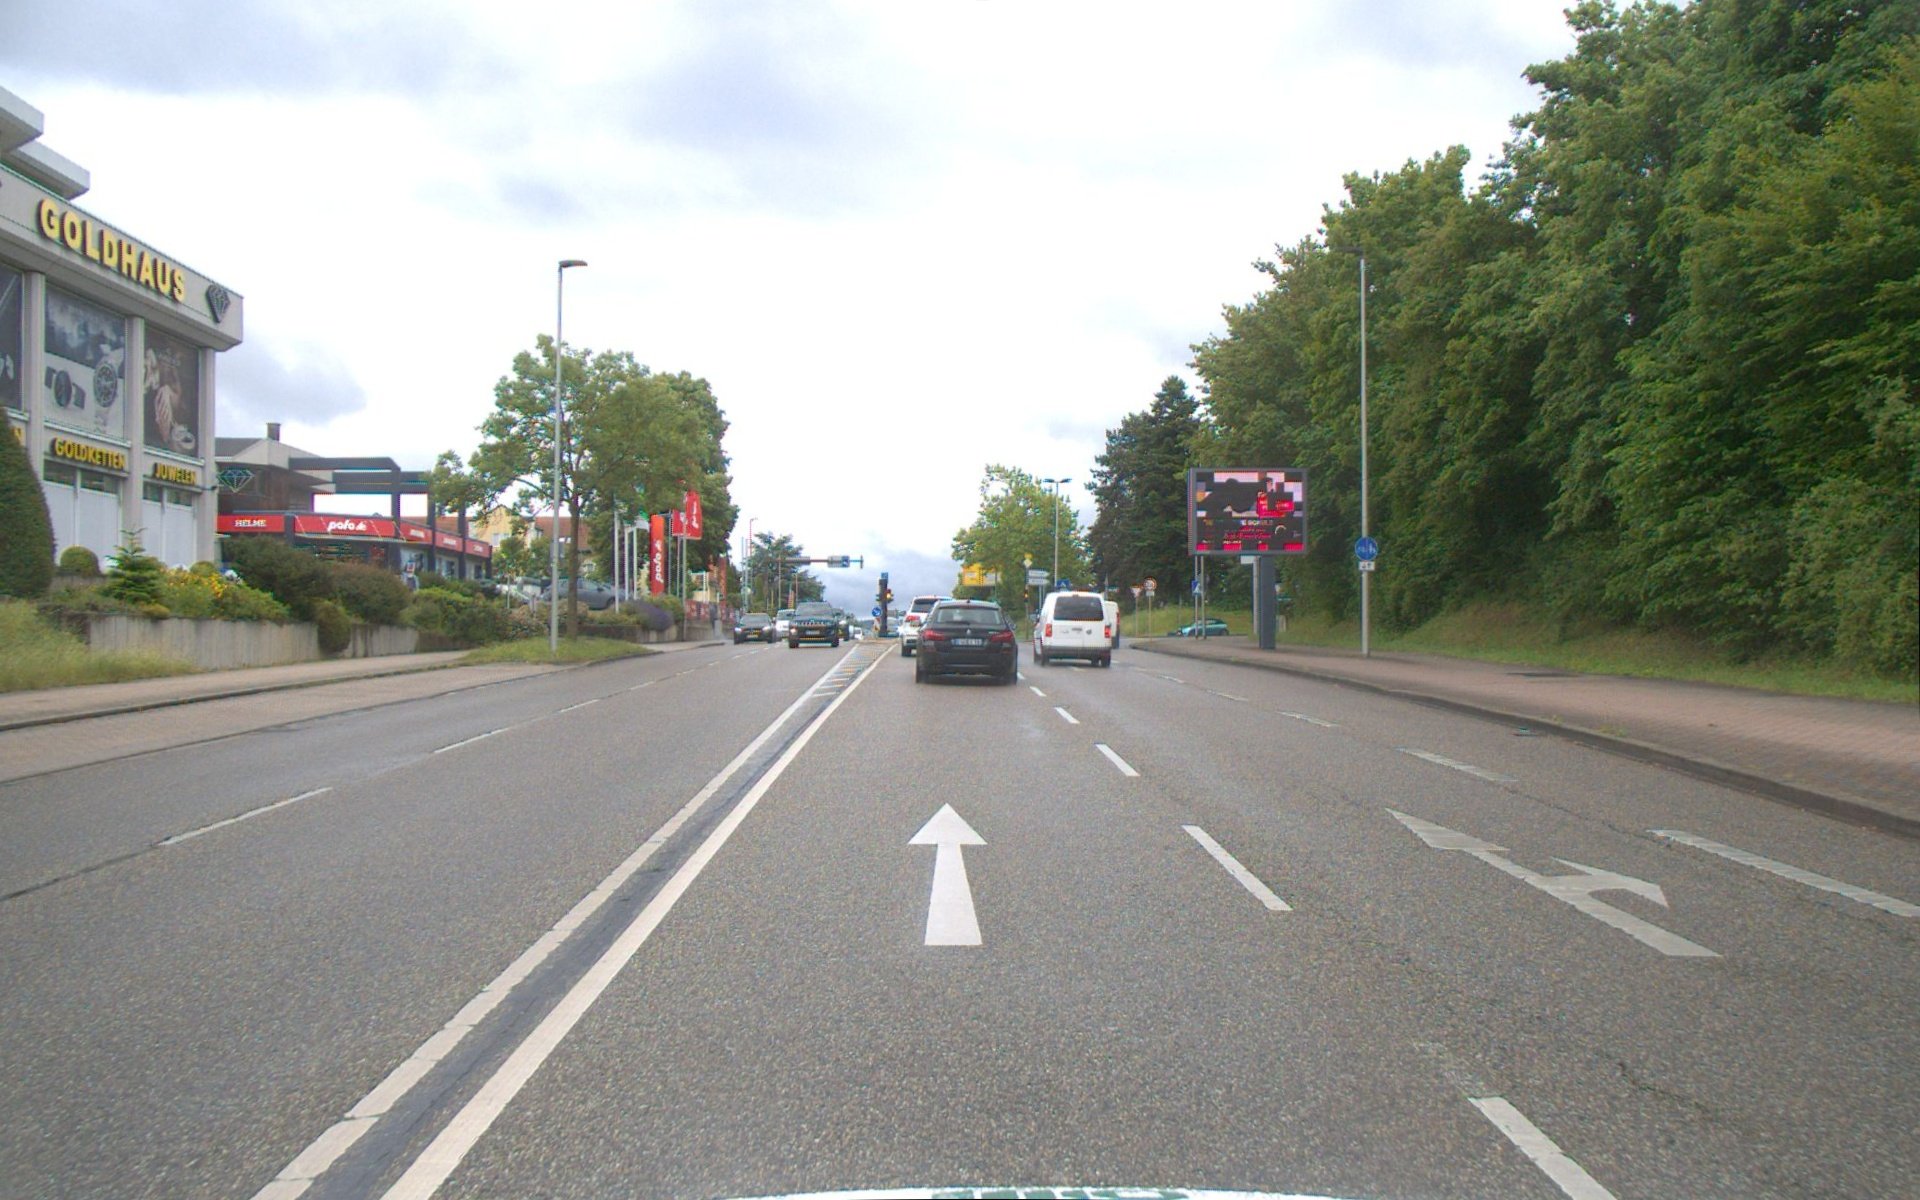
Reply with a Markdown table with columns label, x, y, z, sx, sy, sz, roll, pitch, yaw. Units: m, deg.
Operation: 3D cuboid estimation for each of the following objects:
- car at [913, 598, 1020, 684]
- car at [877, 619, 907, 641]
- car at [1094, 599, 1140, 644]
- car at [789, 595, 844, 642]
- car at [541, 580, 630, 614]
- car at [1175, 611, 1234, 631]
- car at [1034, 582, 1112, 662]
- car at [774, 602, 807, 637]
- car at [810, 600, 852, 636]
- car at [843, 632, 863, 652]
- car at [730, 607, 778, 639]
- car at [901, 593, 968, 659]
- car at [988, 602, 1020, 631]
| label | x | y | z | sx | sy | sz | roll | pitch | yaw |
| --- | --- | --- | --- | --- | --- | --- | --- | --- | --- |
| car | 0.157 | 0.707 | 30.287 | 1.816 | 1.444 | 3.957 | 1 | 0 | 1 |
| car | -4.610 | 2.025 | 111.403 | 1.857 | 1.481 | 4.093 | 0 | -1 | -4 |
| car | 6.276 | 0.836 | 66.316 | 1.776 | 1.738 | 3.948 | 0 | 0 | 5 |
| car | -5.253 | 0.647 | 60.887 | 1.759 | 1.611 | 4.196 | -1 | 0 | -2 |
| car | -16.715 | -0.138 | 73.981 | 3.755 | 1.508 | 1.738 | 0 | -1 | -9 |
| car | 17.507 | 1.489 | 118.338 | 3.927 | 1.316 | 1.600 | -2 | 0 | -20 |
| car | 2.796 | 0.527 | 41.651 | 1.705 | 1.902 | 3.946 | 1 | 0 | 1 |
| car | -10.387 | 1.191 | 101.775 | 1.760 | 2.017 | 4.894 | -2 | 0 | -4 |
| car | -6.296 | 0.869 | 80.952 | 1.786 | 1.635 | 4.282 | -1 | 0 | -1 |
| car | -10.586 | 4.184 | 163.551 | 1.820 | 1.855 | 4.576 | -2 | -1 | -3 |
| car | -9.682 | 1.046 | 78.051 | 1.756 | 1.426 | 4.299 | -1 | 0 | -1 |
| car | -0.688 | 0.700 | 46.707 | 1.692 | 1.741 | 3.383 | 1 | 0 | 2 |
| car | 2.209 | 0.830 | 83.633 | 1.567 | 1.396 | 3.680 | -1 | 0 | 0 |
